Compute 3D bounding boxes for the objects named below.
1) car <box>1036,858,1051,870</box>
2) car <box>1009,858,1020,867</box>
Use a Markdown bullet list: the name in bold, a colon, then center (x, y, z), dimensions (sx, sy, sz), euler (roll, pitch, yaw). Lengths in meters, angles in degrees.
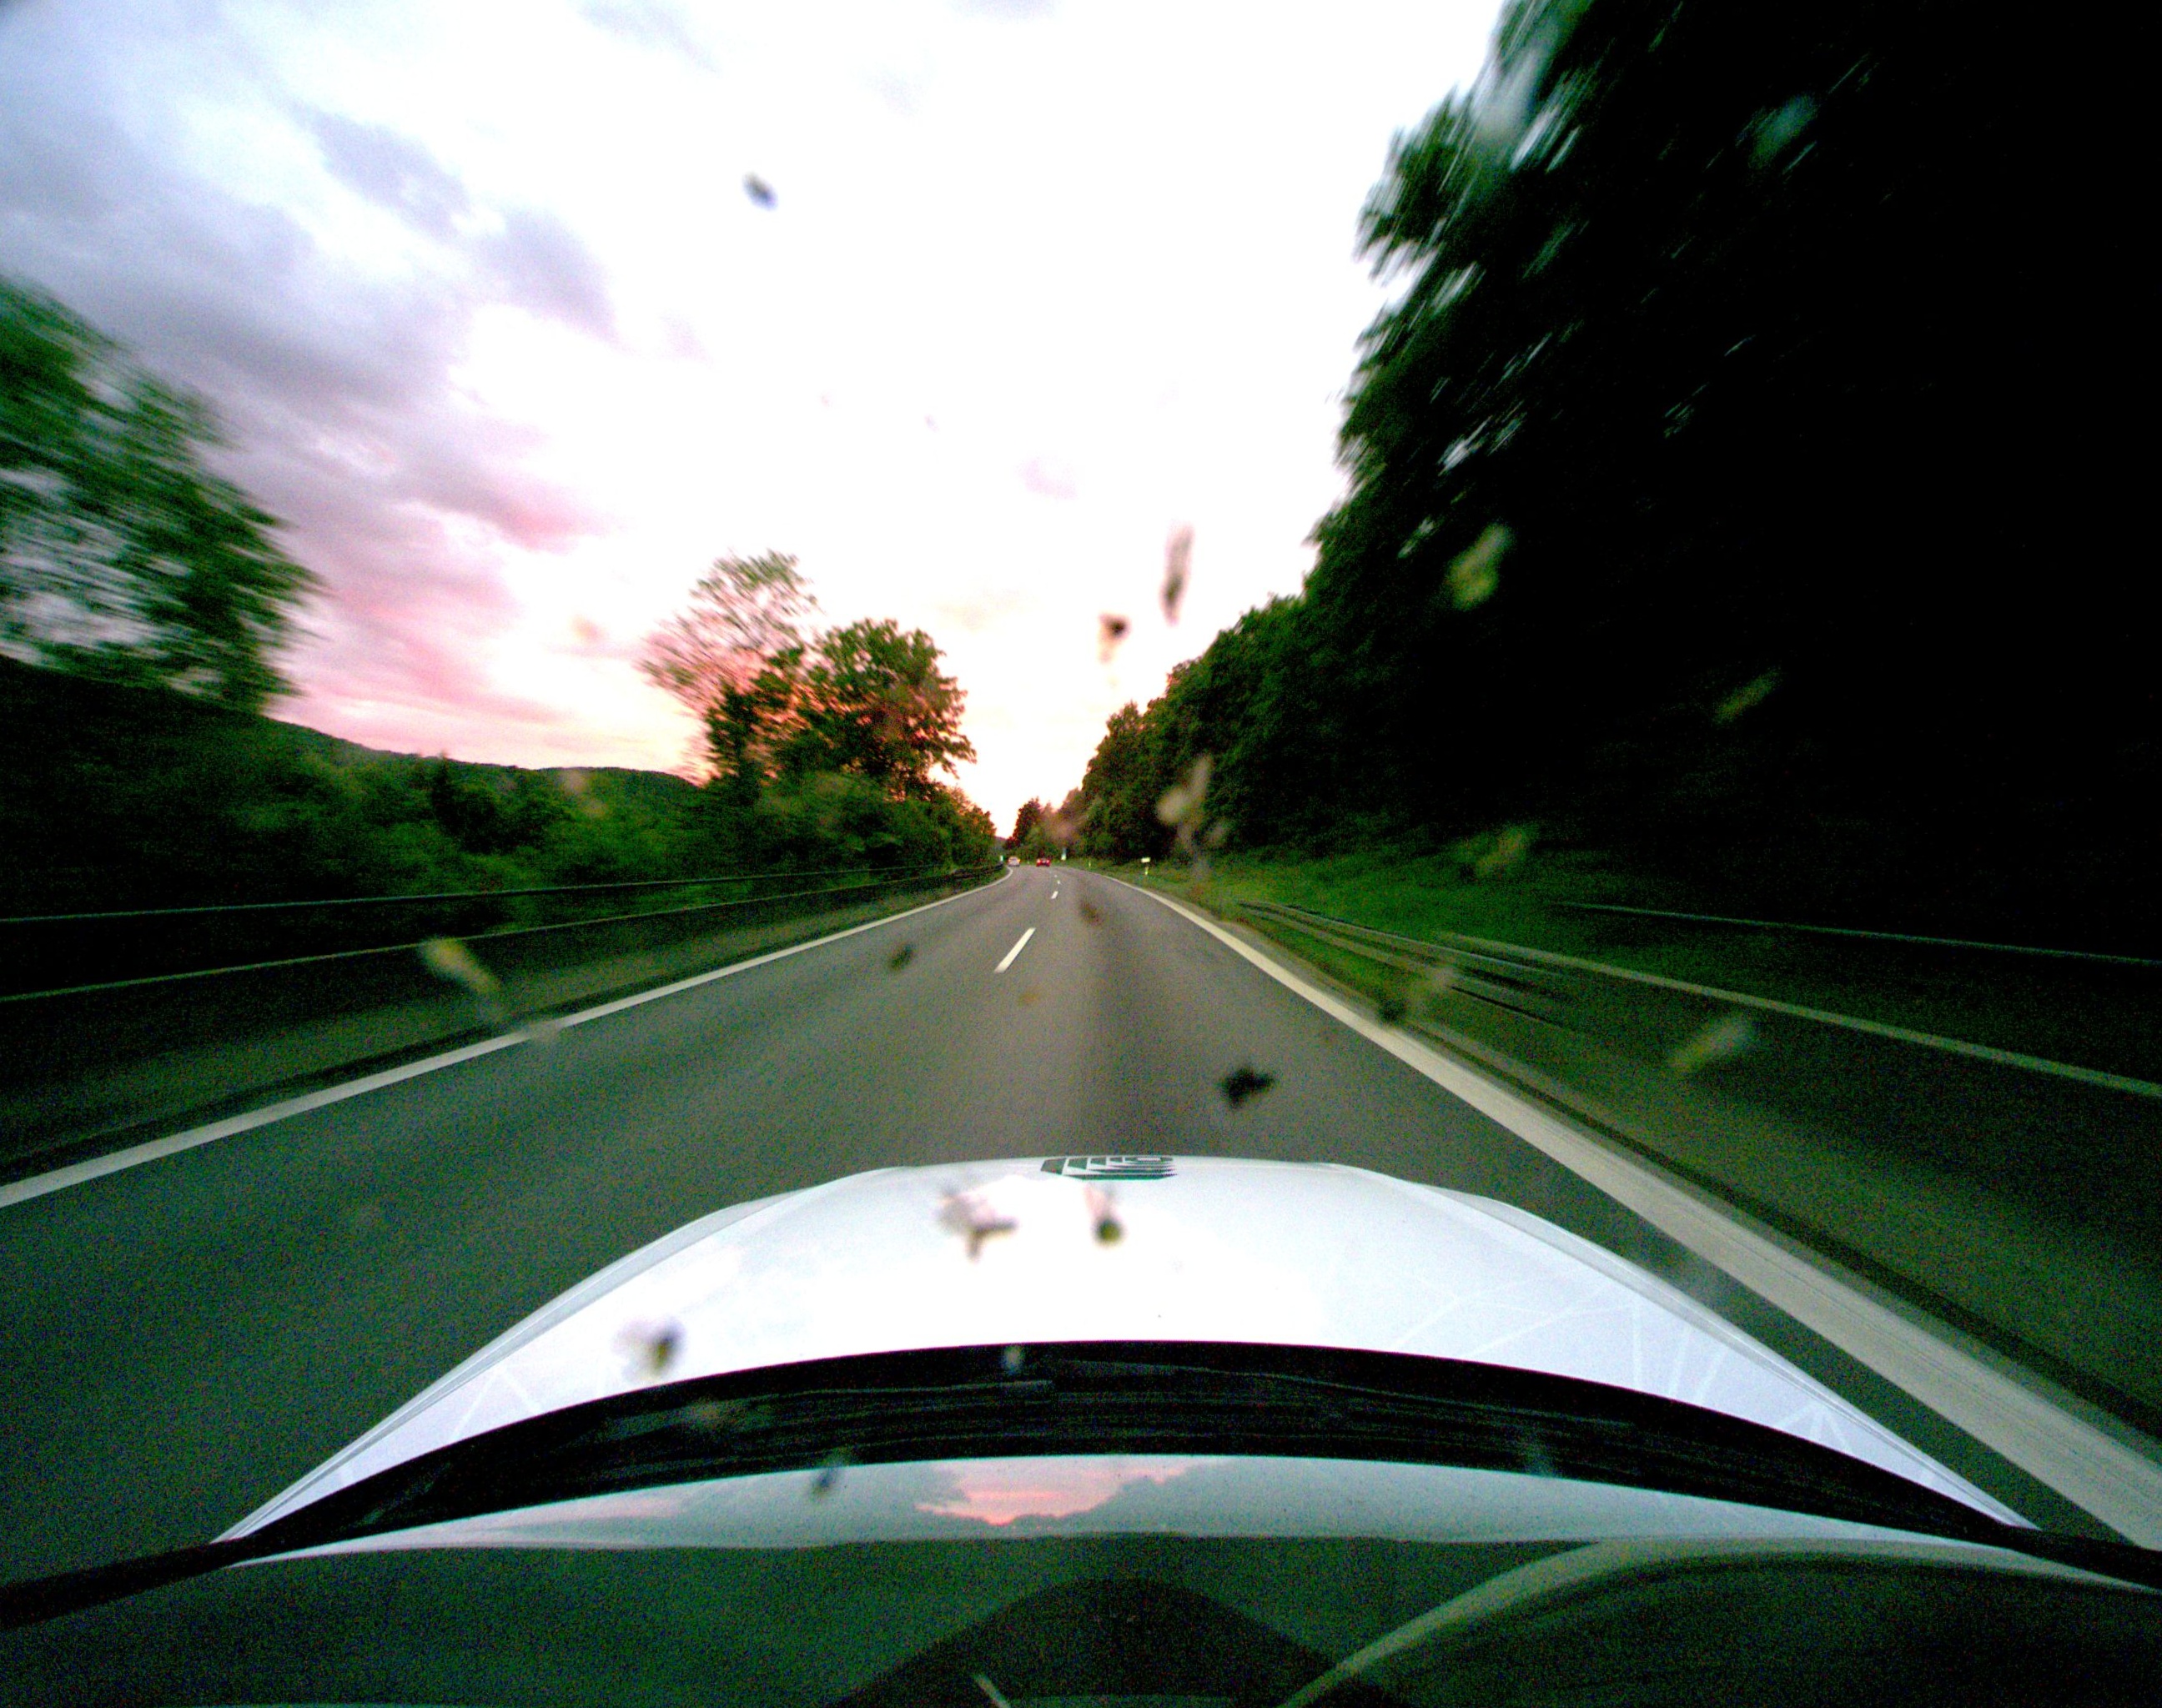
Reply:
- **car**: center (-6.129, 1.679, 132.971), dimensions (1.993, 1.646, 3.987), euler (3, -4, -8)
- **car**: center (-11.312, 1.462, 138.282), dimensions (1.715, 1.502, 3.992), euler (1, -2, -5)
